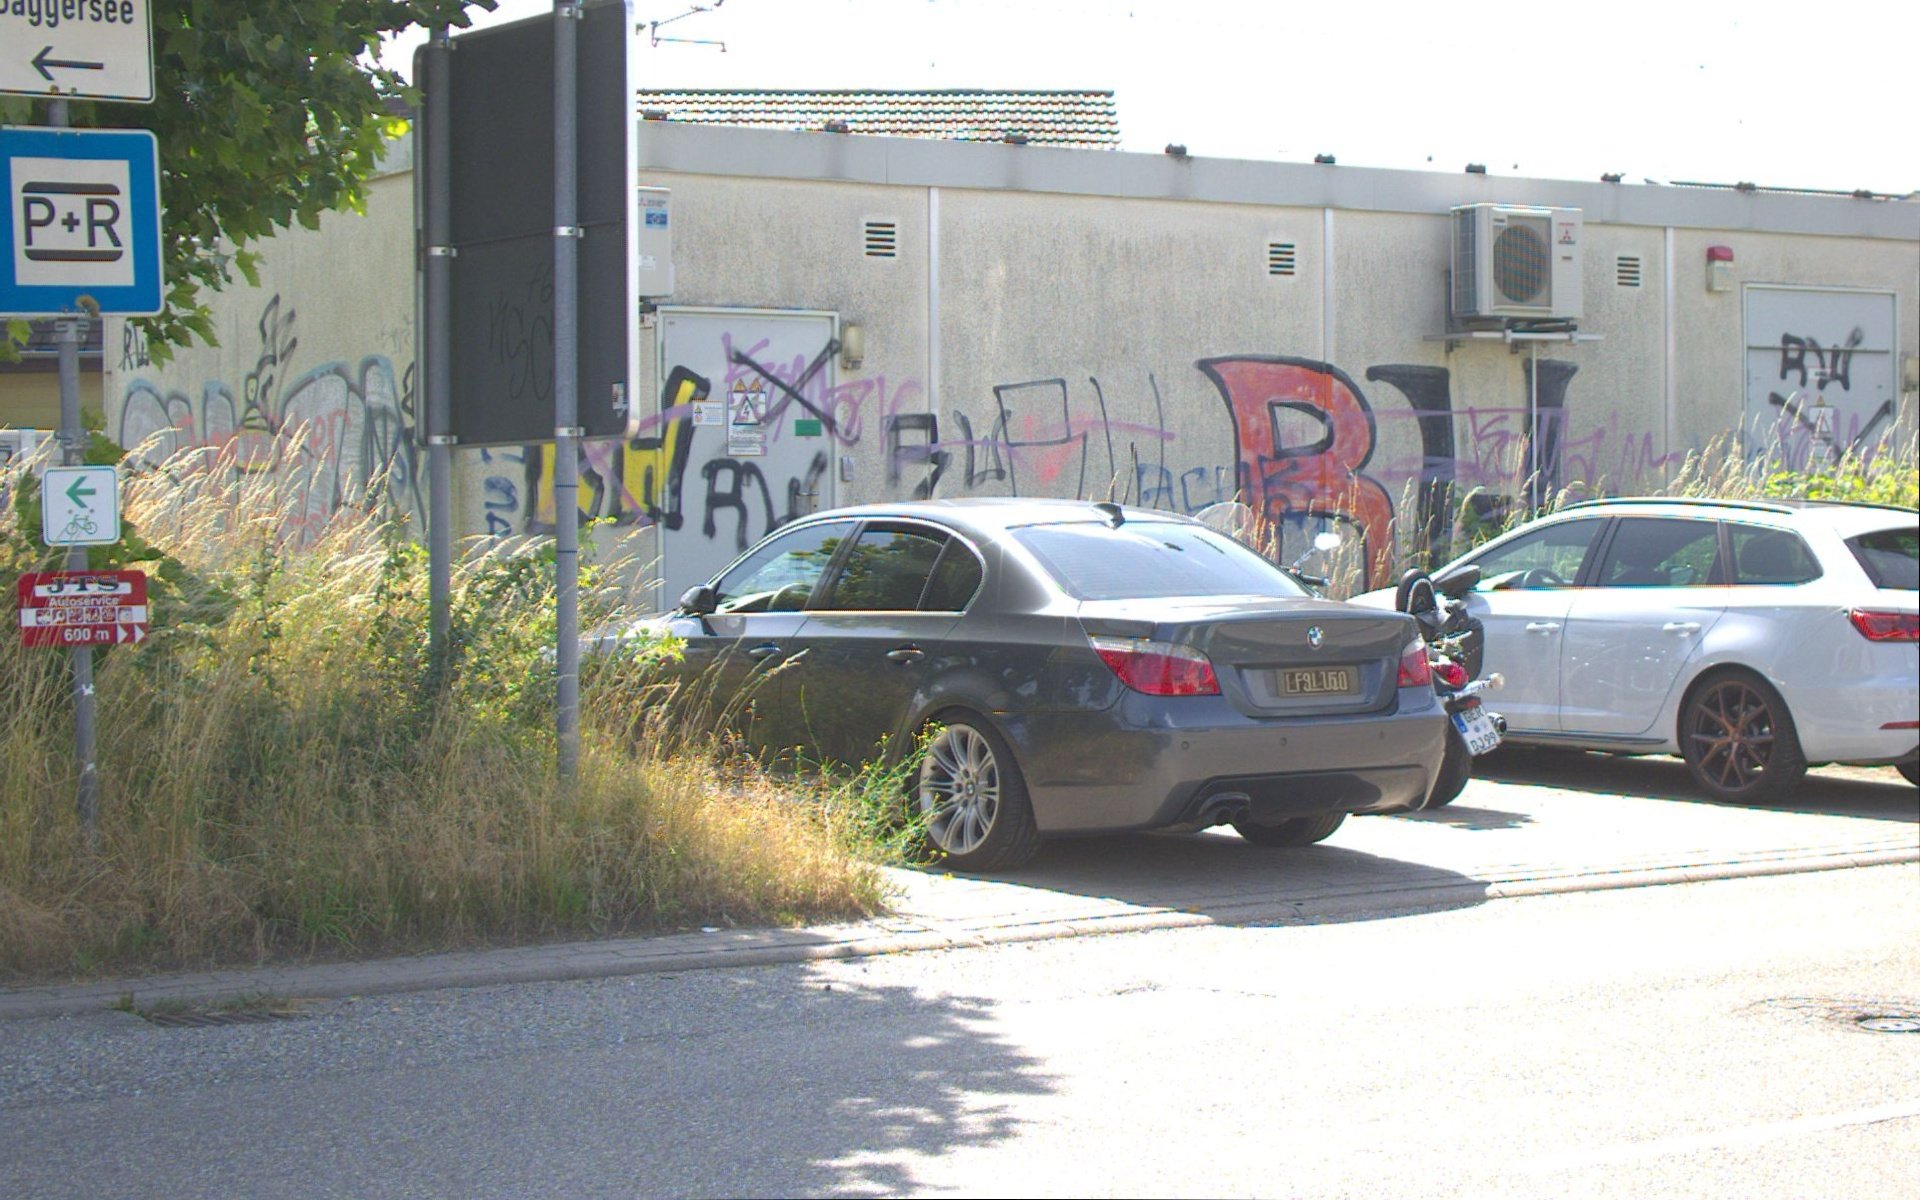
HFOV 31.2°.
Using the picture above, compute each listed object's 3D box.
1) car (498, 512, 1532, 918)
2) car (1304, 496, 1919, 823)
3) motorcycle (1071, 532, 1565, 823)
[{"bbox_3d":[0.061,0.355,14.214,1.783,1.406,4.439,-1,2,-40],"label":"car"},{"bbox_3d":[3.803,0.202,17.457,1.781,1.397,4.086,-1,3,-37],"label":"car"},{"bbox_3d":[1.650,0.317,16.465,0.716,1.276,2.732,-1,2,-36],"label":"motorcycle"}]
